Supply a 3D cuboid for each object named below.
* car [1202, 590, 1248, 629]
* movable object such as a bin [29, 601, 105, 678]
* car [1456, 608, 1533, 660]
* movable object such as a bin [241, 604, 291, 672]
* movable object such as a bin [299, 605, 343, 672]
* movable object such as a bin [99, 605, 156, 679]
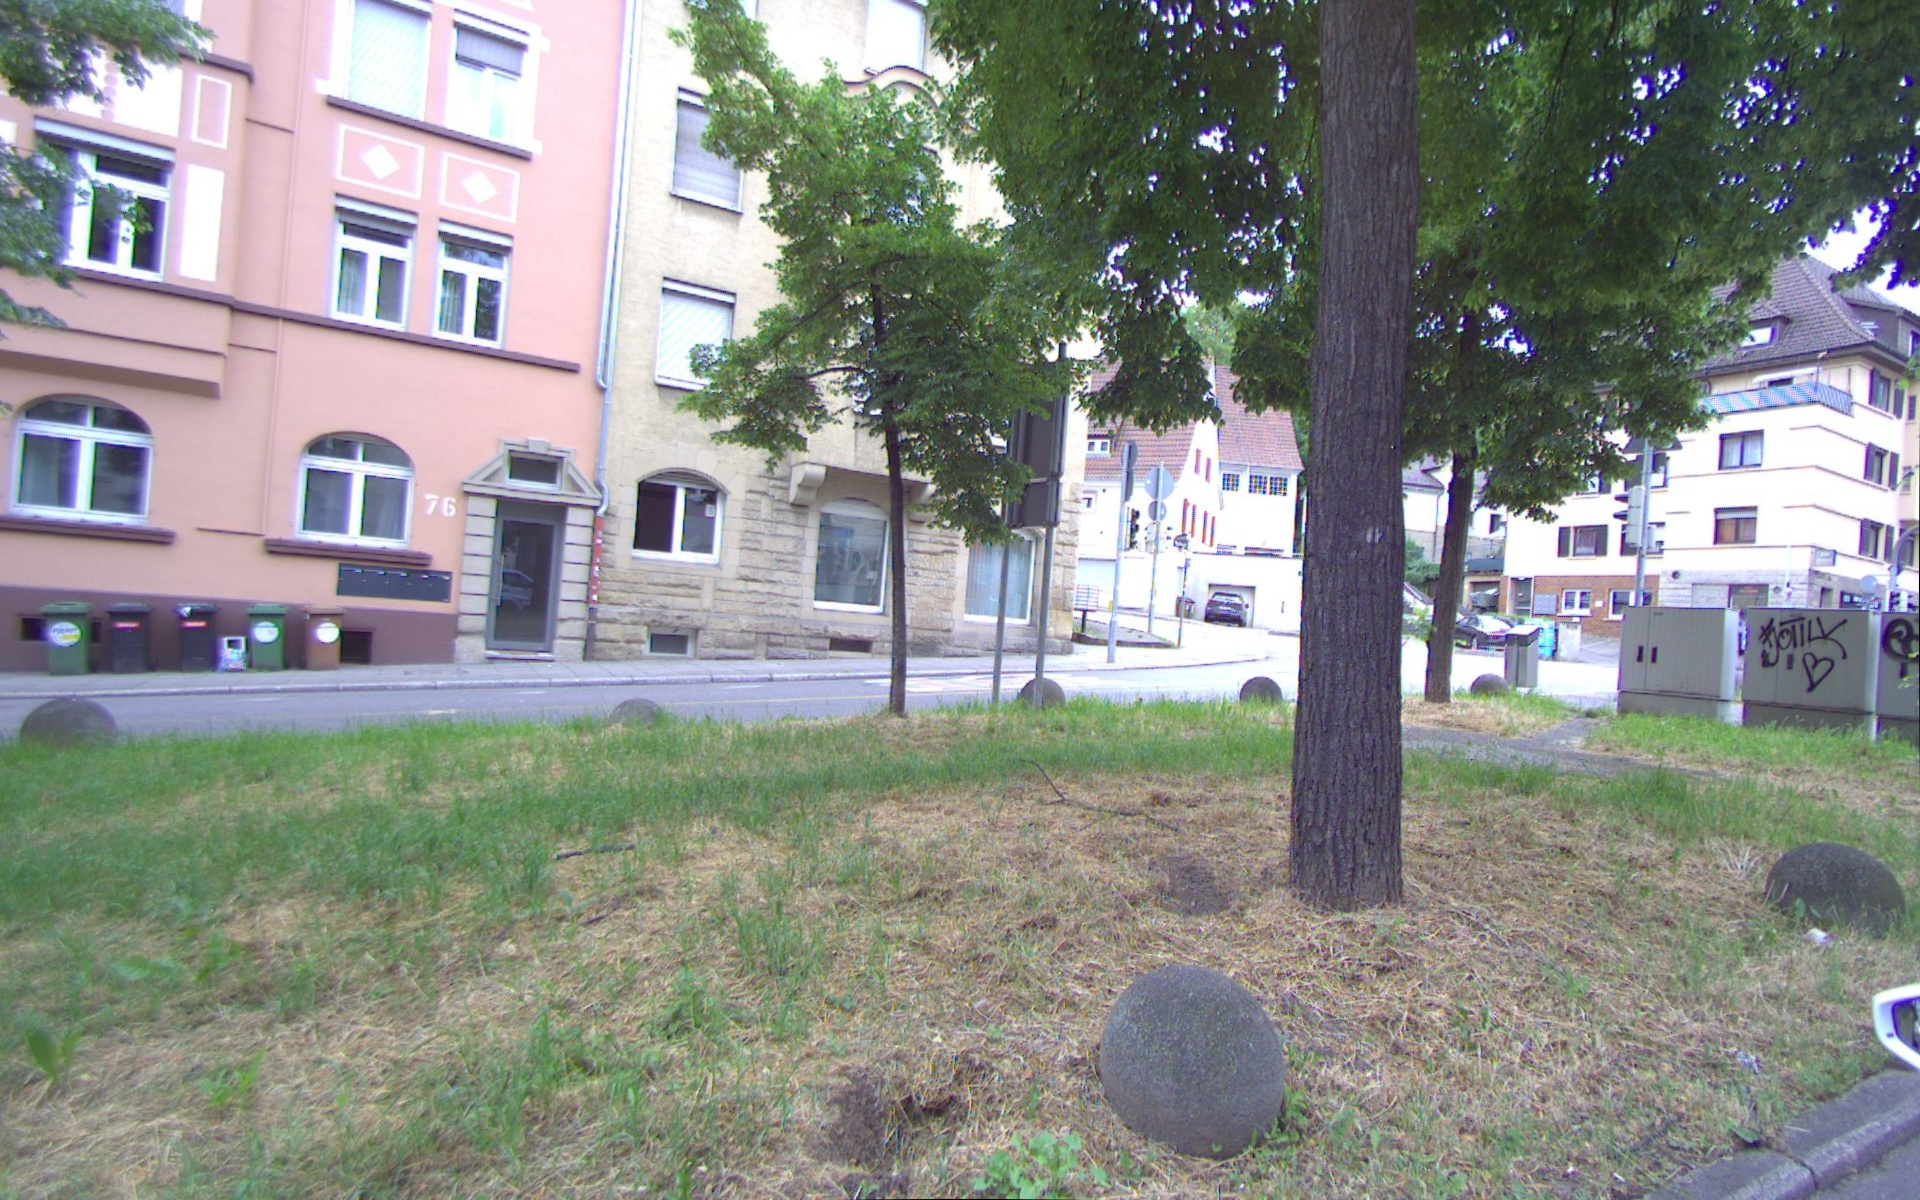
[{"bbox_3d":[11.764,0.384,44.797,1.638,1.424,3.058,7,3,11],"label":"car"},{"bbox_3d":[-11.645,0.507,13.121,0.611,0.961,0.613,2,0,-31],"label":"movable object such as a bin"},{"bbox_3d":[21.818,1.336,41.151,1.832,1.619,3.519,2,6,13],"label":"car"},{"bbox_3d":[-9.820,0.532,14.233,0.554,0.934,0.649,2,0,-34],"label":"movable object such as a bin"},{"bbox_3d":[-9.275,0.550,14.570,0.510,0.934,0.752,2,0,-34],"label":"movable object such as a bin"},{"bbox_3d":[-11.163,0.557,13.474,0.527,0.958,0.576,2,0,-36],"label":"movable object such as a bin"}]
